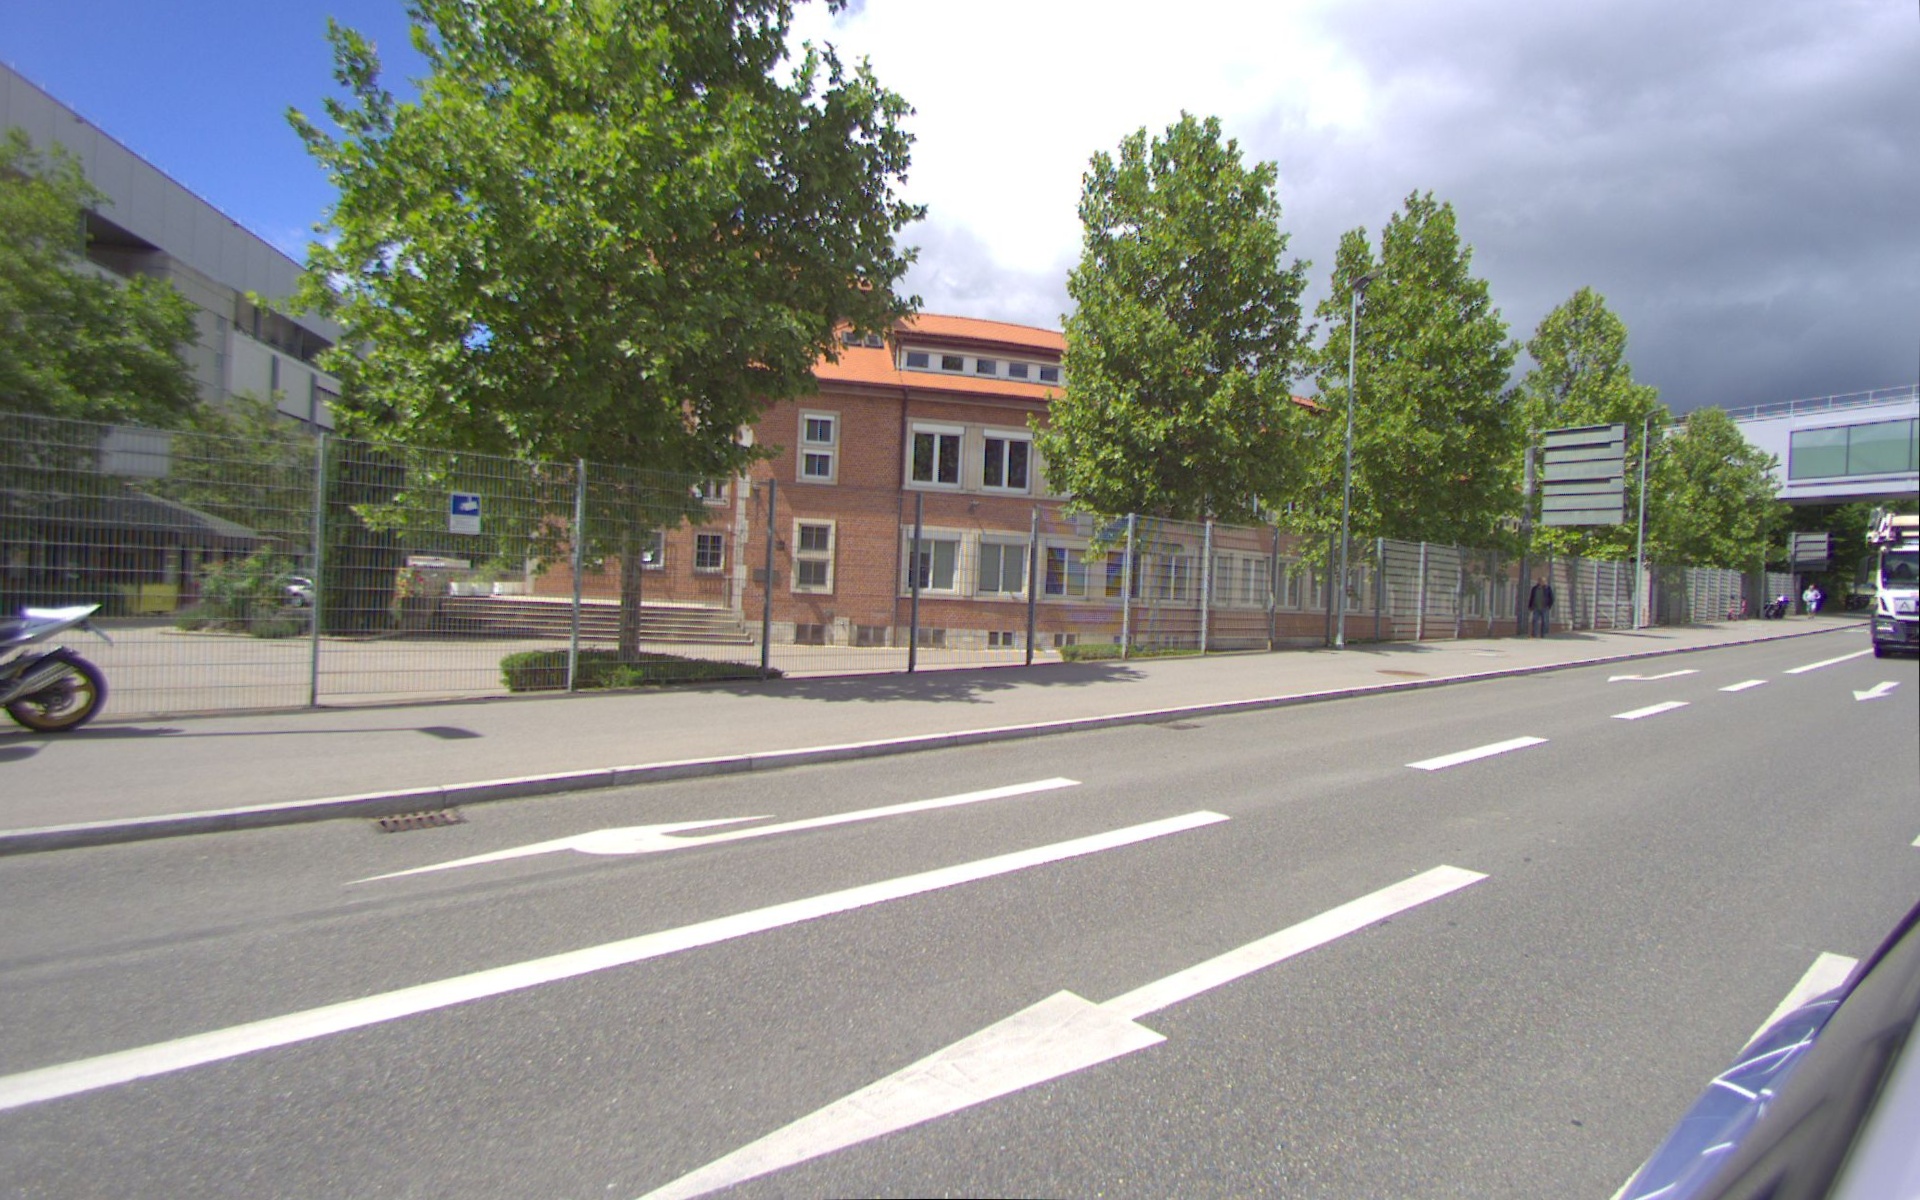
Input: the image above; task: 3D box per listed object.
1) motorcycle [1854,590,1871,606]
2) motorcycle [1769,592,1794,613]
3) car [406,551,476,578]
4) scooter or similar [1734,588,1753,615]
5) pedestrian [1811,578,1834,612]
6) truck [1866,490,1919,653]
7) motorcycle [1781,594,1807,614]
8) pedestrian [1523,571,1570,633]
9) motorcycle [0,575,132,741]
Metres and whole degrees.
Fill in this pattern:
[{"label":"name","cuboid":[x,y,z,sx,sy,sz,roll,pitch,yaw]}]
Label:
[{"label":"motorcycle","cuboid":[68.454,-0.142,76.719,2.076,1.168,0.679,0,2,-41]},{"label":"motorcycle","cuboid":[44.518,0.104,54.811,2.209,1.077,0.669,-1,4,-43]},{"label":"car","cuboid":[-35.908,-2.460,70.156,3.916,1.805,2.004,-1,1,-13]},{"label":"scooter or similar","cuboid":[39.005,0.072,50.377,1.314,1.310,0.492,0,3,-42]},{"label":"pedestrian","cuboid":[49.169,-0.272,57.697,1.078,1.911,0.790,0,2,-43]},{"label":"truck","cuboid":[27.776,-0.716,28.194,9.914,4.055,2.784,0,1,-43]},{"label":"motorcycle","cuboid":[46.844,0.203,56.824,2.467,1.077,0.709,-1,4,-43]},{"label":"pedestrian","cuboid":[17.269,0.052,29.822,0.924,1.764,0.879,0,3,-42]},{"label":"motorcycle","cuboid":[-7.392,0.414,7.319,0.693,1.172,2.113,4,3,44]}]
